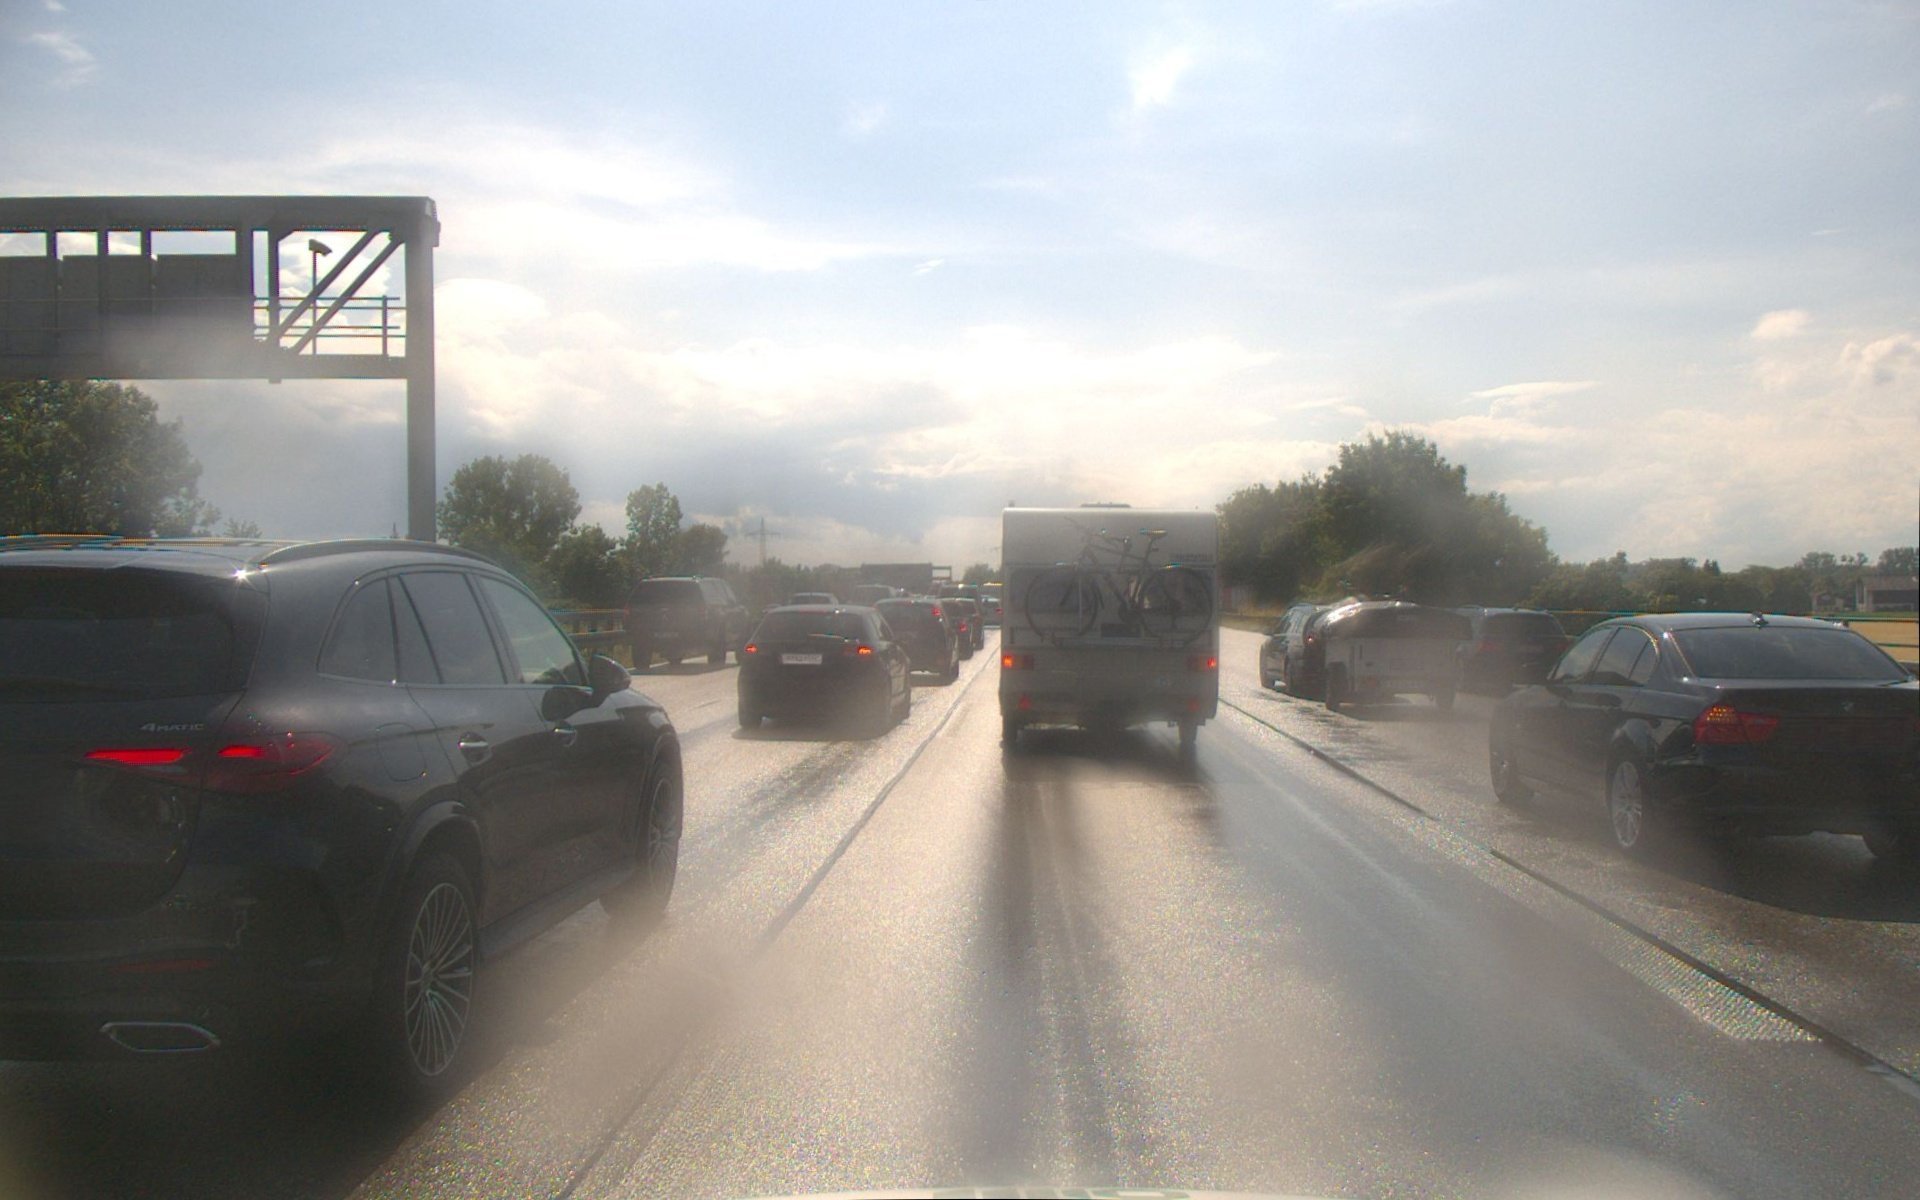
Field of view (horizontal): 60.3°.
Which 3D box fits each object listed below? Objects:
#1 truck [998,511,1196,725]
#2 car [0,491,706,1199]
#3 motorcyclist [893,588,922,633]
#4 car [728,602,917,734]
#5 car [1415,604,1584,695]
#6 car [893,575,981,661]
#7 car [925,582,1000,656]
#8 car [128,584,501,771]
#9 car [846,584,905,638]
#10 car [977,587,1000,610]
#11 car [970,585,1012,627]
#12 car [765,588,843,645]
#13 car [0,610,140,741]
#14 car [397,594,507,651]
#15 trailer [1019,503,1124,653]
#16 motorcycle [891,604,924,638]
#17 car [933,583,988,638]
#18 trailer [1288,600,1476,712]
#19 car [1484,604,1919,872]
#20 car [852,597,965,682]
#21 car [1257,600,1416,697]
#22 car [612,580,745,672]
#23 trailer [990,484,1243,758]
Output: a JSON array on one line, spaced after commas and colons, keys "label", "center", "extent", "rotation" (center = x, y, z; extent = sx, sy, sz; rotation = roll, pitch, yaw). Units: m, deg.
[{"label": "truck", "center": [1.751, 0.222, 22.652], "extent": [2.325, 2.520, 5.757], "rotation": [1, 0, 2]}, {"label": "car", "center": [-2.362, 0.600, 6.040], "extent": [1.952, 1.690, 4.407], "rotation": [0, 0, 3]}, {"label": "motorcyclist", "center": [-2.052, 0.395, 64.753], "extent": [1.041, 1.748, 0.785], "rotation": [0, 0, 3]}, {"label": "car", "center": [-1.543, 0.732, 19.879], "extent": [1.720, 1.411, 3.946], "rotation": [0, 0, 3]}, {"label": "car", "center": [9.203, 0.791, 28.572], "extent": [1.734, 1.426, 4.291], "rotation": [0, 0, 3]}, {"label": "car", "center": [-0.539, 0.427, 42.133], "extent": [1.952, 2.049, 4.002], "rotation": [1, 0, 3]}, {"label": "car", "center": [0.113, 0.549, 50.610], "extent": [1.952, 2.048, 4.002], "rotation": [4, 0, 3]}, {"label": "car", "center": [-5.952, 0.639, 15.848], "extent": [1.720, 1.543, 4.210], "rotation": [0, 0, 3]}, {"label": "car", "center": [-3.509, 0.435, 69.312], "extent": [1.952, 2.048, 4.002], "rotation": [4, 0, 3]}, {"label": "car", "center": [2.375, -0.121, 138.037], "extent": [1.838, 1.791, 3.999], "rotation": [1, 0, 0]}, {"label": "car", "center": [1.587, 0.297, 82.813], "extent": [1.952, 2.049, 4.002], "rotation": [-1, 0, 3]}, {"label": "car", "center": [-5.059, 0.524, 54.098], "extent": [1.952, 1.803, 4.002], "rotation": [0, 0, 3]}, {"label": "car", "center": [-13.333, 0.978, 22.903], "extent": [1.953, 1.652, 4.000], "rotation": [0, 0, 0]}, {"label": "car", "center": [-15.928, 0.669, 52.101], "extent": [1.952, 1.717, 4.462], "rotation": [0, 0, 2]}, {"label": "trailer", "center": [3.525, -0.621, 51.458], "extent": [2.943, 4.239, 8.540], "rotation": [1, 0, 4]}, {"label": "motorcycle", "center": [-2.057, 0.806, 64.672], "extent": [1.051, 1.293, 2.691], "rotation": [0, 0, 3]}, {"label": "car", "center": [0.054, 0.393, 64.080], "extent": [1.952, 2.049, 4.002], "rotation": [0, 0, 3]}, {"label": "trailer", "center": [5.991, 0.746, 23.935], "extent": [1.816, 1.467, 4.149], "rotation": [0, 0, 2]}, {"label": "car", "center": [4.856, 0.755, 10.941], "extent": [1.704, 1.445, 3.837], "rotation": [0, 0, 2]}, {"label": "car", "center": [-0.881, 0.686, 30.541], "extent": [1.768, 1.432, 4.001], "rotation": [1, 0, 3]}, {"label": "car", "center": [6.122, 0.731, 27.341], "extent": [1.816, 1.467, 4.259], "rotation": [0, 0, 2]}, {"label": "car", "center": [-5.726, 0.519, 34.136], "extent": [1.952, 1.750, 4.000], "rotation": [1, 0, 1]}, {"label": "trailer", "center": [1.590, 0.210, 18.754], "extent": [2.325, 2.527, 6.525], "rotation": [1, 0, 2]}]
